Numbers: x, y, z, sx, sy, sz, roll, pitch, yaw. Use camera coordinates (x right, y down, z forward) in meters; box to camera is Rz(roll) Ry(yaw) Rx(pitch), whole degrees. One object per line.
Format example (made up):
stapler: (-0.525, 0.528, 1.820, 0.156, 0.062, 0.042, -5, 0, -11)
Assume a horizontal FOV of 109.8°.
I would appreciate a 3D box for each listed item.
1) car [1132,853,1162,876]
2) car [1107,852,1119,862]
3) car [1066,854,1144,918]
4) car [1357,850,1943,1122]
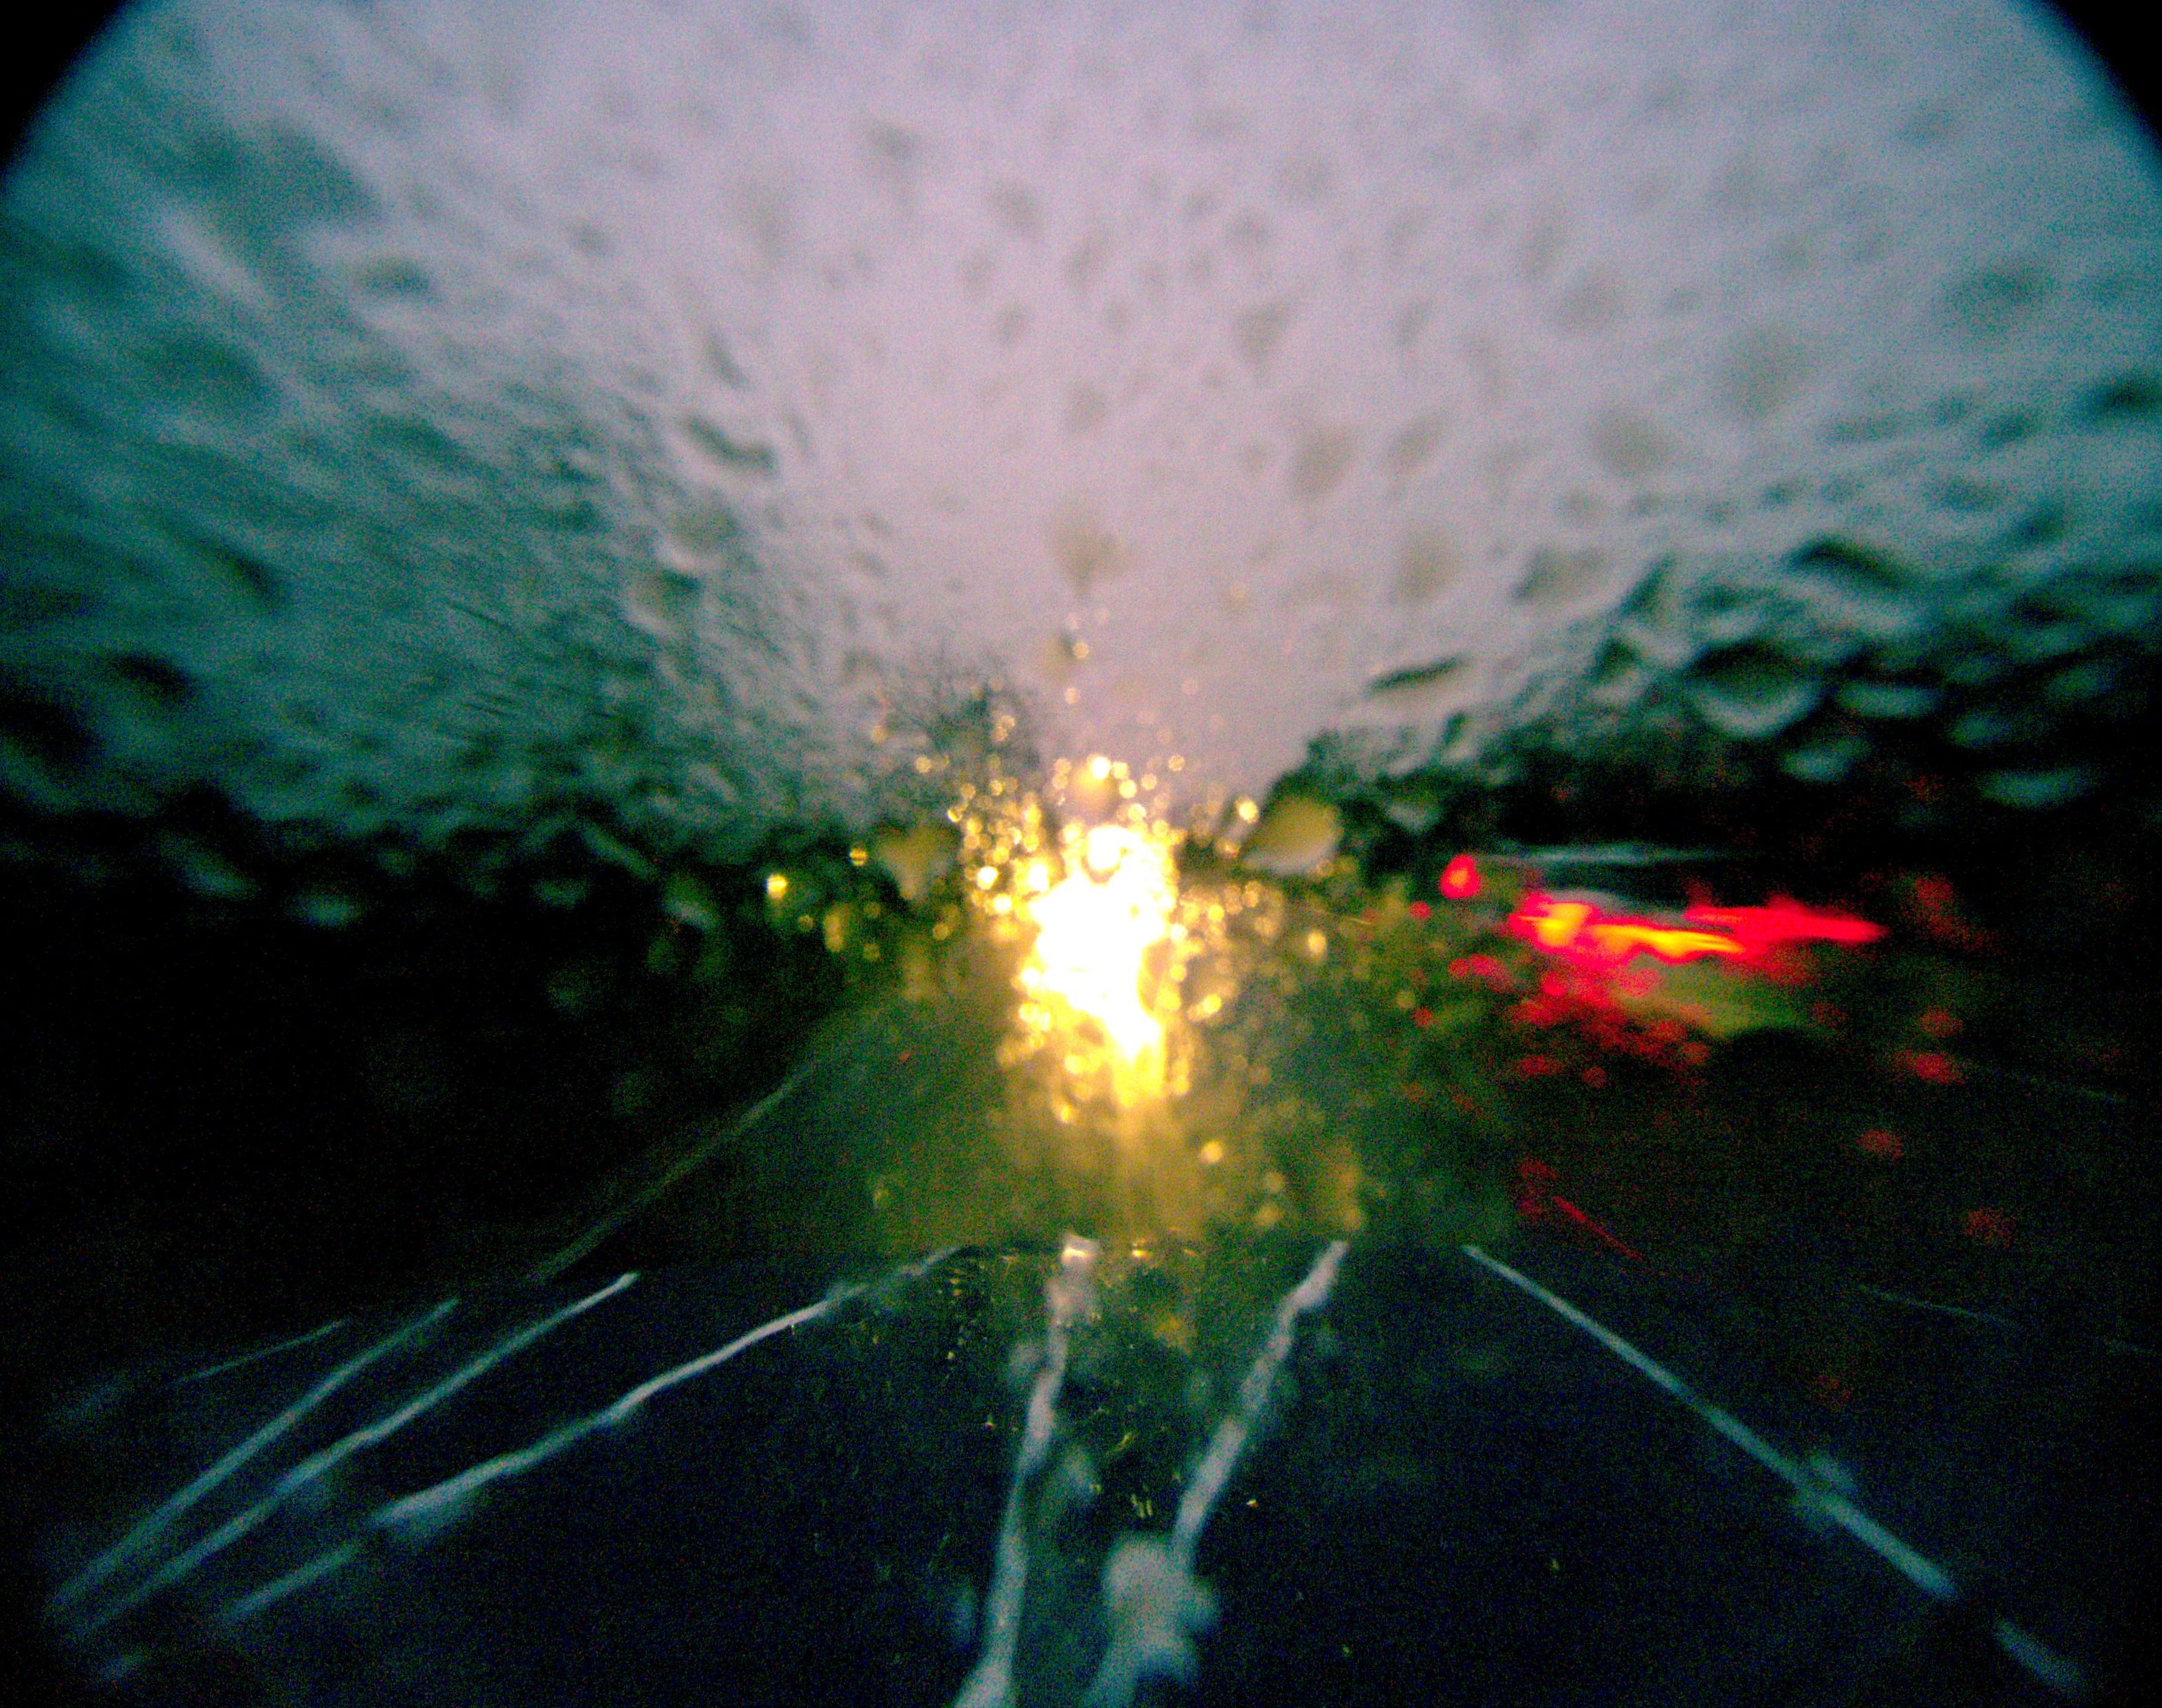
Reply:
car: (4.480, 0.692, 52.032, 1.755, 1.465, 3.891, -2, 0, 1)
car: (5.027, 0.414, 118.683, 1.821, 1.433, 3.456, -3, 0, 4)
car: (0.798, 0.857, 22.220, 1.998, 1.601, 4.001, -3, 0, 5)
car: (4.012, 0.752, 6.404, 1.830, 1.490, 4.095, -2, 0, 0)
